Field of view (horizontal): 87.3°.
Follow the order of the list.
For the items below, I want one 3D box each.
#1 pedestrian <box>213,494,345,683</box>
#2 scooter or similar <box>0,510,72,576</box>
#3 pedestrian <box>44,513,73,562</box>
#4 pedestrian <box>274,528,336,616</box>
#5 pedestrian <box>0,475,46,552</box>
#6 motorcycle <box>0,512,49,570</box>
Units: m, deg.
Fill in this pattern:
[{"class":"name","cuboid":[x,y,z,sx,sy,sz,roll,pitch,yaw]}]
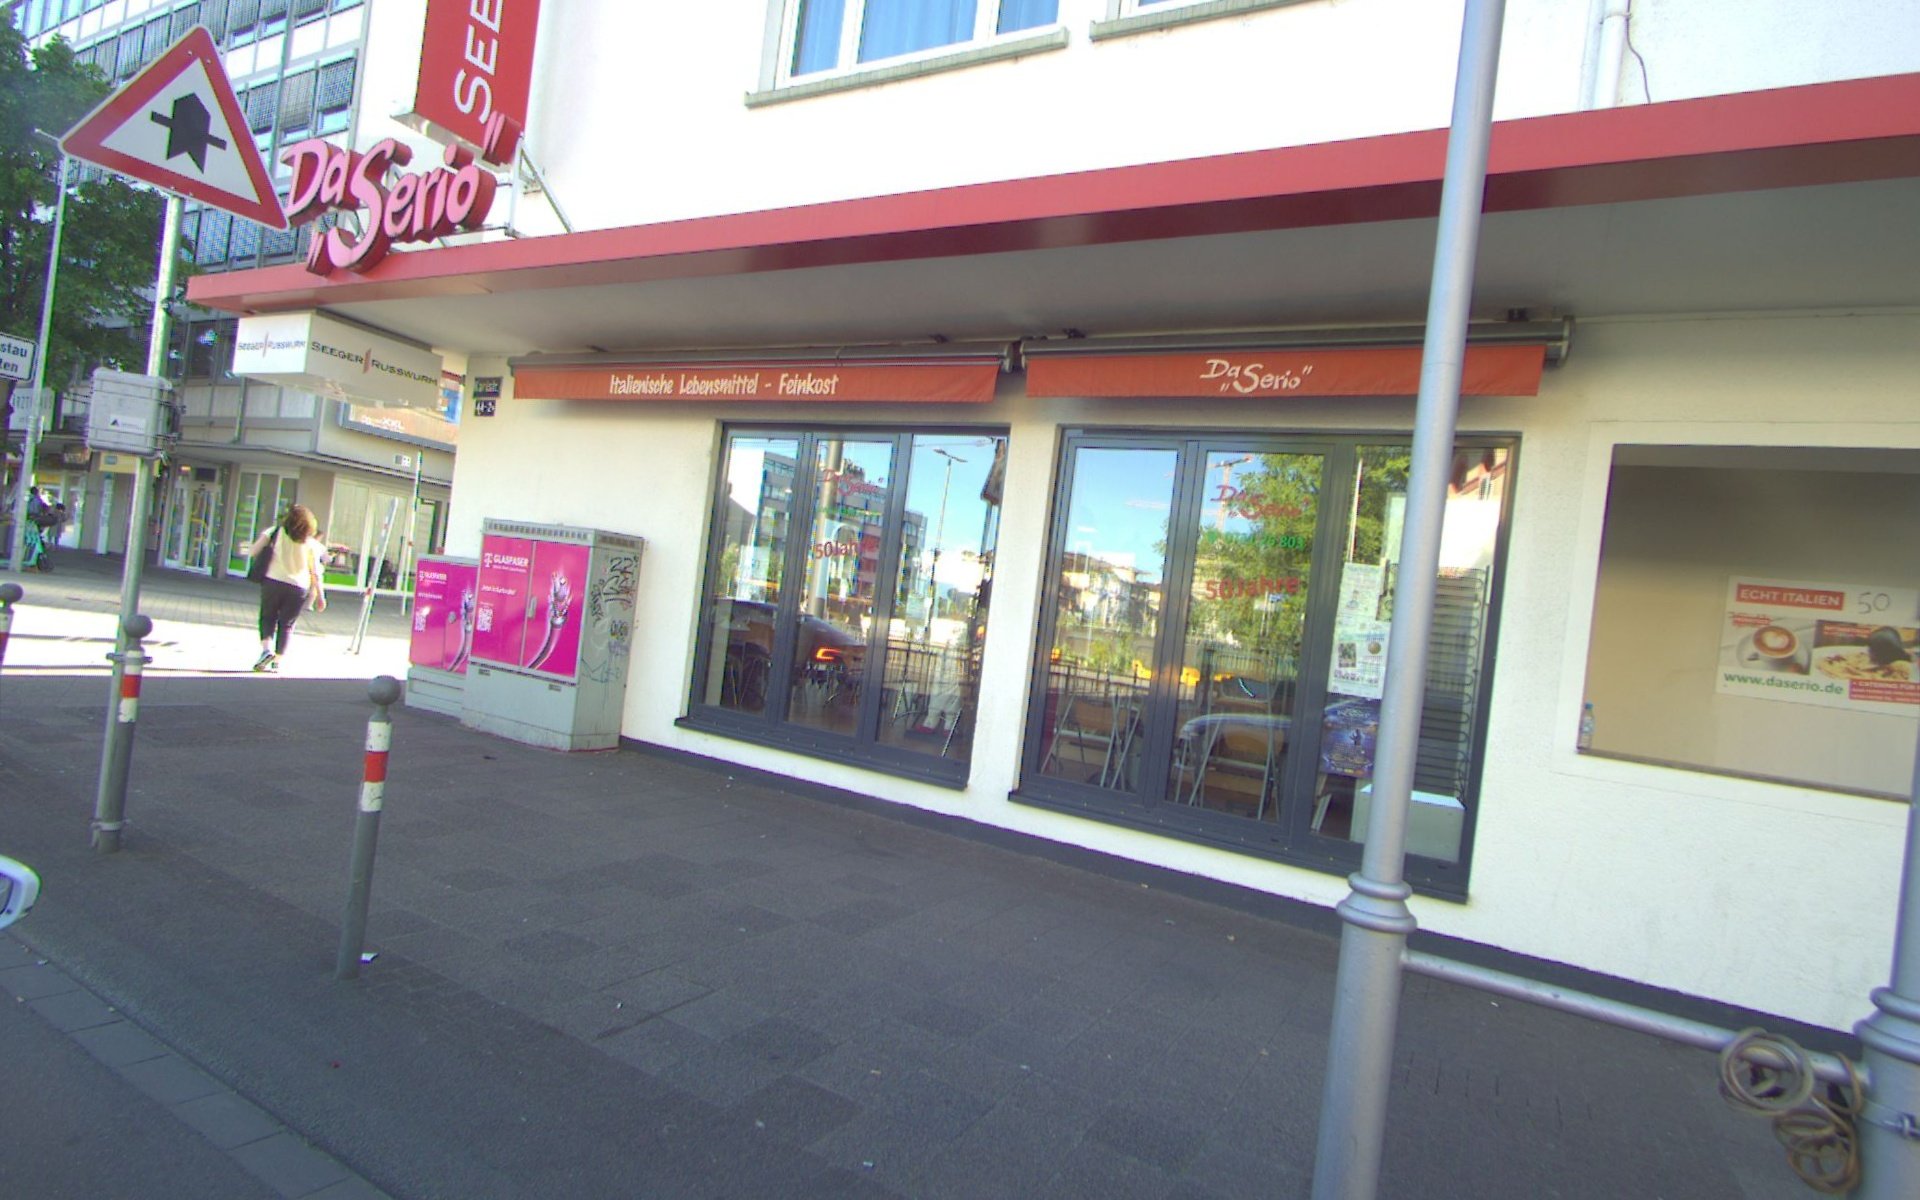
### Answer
[{"class":"pedestrian","cuboid":[-7.041,-0.121,10.418,0.909,1.773,1.029,7,0,-35]},{"class":"scooter or similar","cuboid":[-19.941,-1.232,21.181,1.628,1.229,0.640,8,-1,-29]},{"class":"pedestrian","cuboid":[-25.974,-1.798,28.976,0.504,1.359,0.390,6,-1,34]},{"class":"pedestrian","cuboid":[-13.558,-0.576,20.818,0.884,1.687,0.801,8,-1,-35]},{"class":"pedestrian","cuboid":[-26.370,-2.425,28.312,0.570,2.037,0.663,6,-1,34]},{"class":"motorcycle","cuboid":[-21.572,-1.397,22.411,0.532,1.186,1.711,7,-2,30]}]
